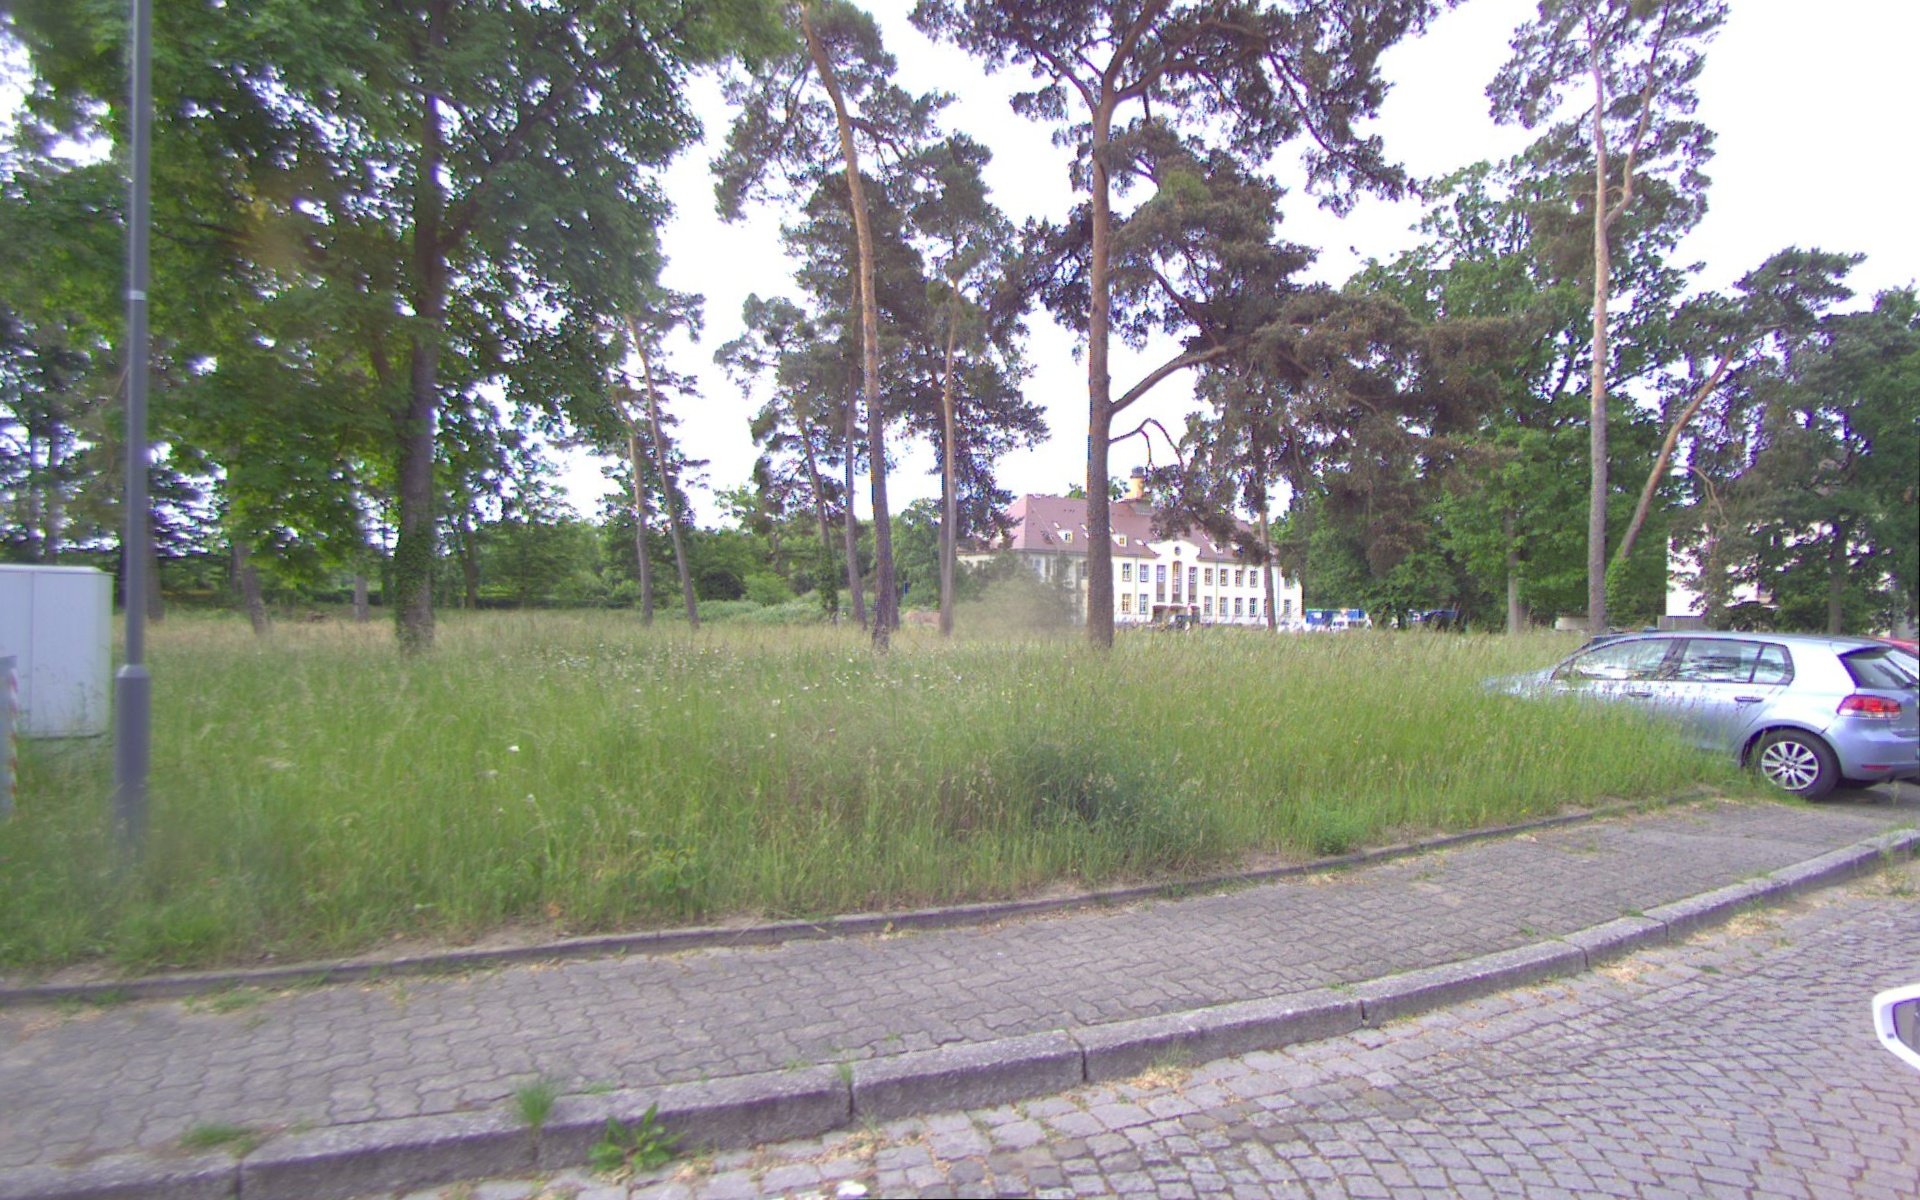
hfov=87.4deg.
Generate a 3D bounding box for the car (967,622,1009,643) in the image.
[{"bbox_3d":[3.101,3.606,113.529,1.983,2.229,4.981,1,-1,-39],"label":"car"}]

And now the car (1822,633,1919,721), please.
[{"bbox_3d":[17.914,1.380,17.432,1.824,1.502,4.145,1,-1,-31],"label":"car"}]

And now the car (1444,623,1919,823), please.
[{"bbox_3d":[7.405,1.059,10.361,1.885,1.563,3.964,1,-1,-33],"label":"car"}]

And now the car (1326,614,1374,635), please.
[{"bbox_3d":[41.564,2.606,106.944,5.168,2.040,1.984,2,-2,-30],"label":"car"}]

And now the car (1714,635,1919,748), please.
[{"bbox_3d":[13.796,1.309,14.635,1.844,1.496,4.143,1,-1,-32],"label":"car"}]

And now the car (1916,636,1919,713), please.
[{"bbox_3d":[20.606,1.474,18.419,1.843,1.511,4.146,1,-1,-30],"label":"car"}]

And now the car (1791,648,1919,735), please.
[{"bbox_3d":[15.892,1.476,15.699,1.810,1.283,4.146,1,-1,-30],"label":"car"}]

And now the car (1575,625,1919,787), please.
[{"bbox_3d":[9.795,1.117,11.587,1.916,1.568,4.222,1,-1,-35],"label":"car"}]

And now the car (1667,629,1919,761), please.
[{"bbox_3d":[12.058,1.191,13.025,1.915,1.527,4.347,1,-1,-34],"label":"car"}]
